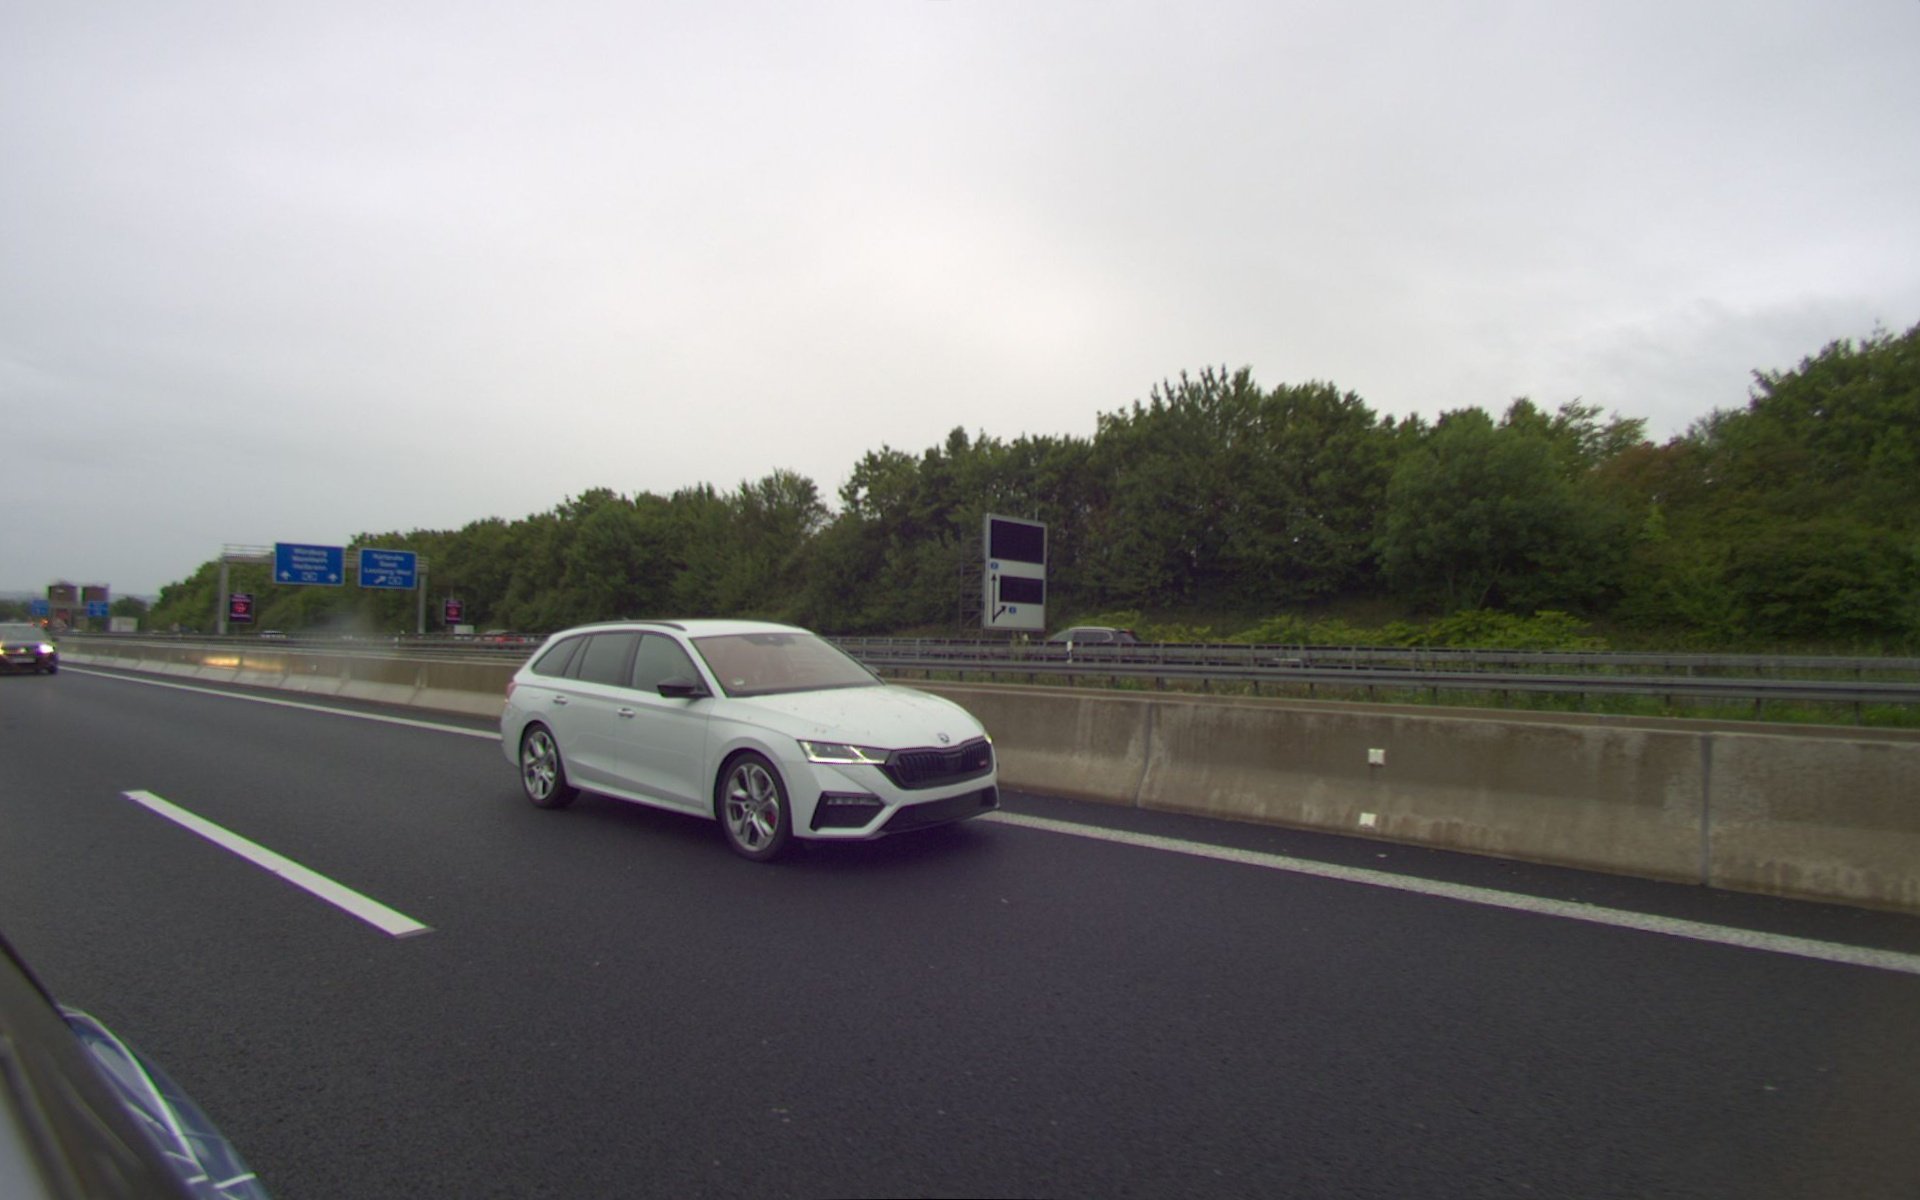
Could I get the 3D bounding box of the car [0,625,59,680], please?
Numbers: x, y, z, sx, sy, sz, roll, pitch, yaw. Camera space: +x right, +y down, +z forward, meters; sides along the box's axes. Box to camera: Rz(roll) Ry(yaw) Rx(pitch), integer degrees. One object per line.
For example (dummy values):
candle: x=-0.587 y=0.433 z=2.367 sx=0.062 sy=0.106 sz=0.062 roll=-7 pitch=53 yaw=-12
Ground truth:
car: x=-28.248 y=1.504 z=30.063 sx=4.565 sy=1.500 sz=1.703 roll=-1 pitch=-1 yaw=42

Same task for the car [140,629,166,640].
car: x=-107.818 y=4.580 z=135.194 sx=4.471 sy=1.504 sz=1.800 roll=-1 pitch=-1 yaw=40

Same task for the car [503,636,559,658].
car: x=-31.368 y=3.433 z=73.961 sx=4.773 sy=1.467 sz=1.800 roll=-1 pitch=-1 yaw=40

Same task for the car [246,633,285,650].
car: x=-62.148 y=3.714 z=90.541 sx=4.265 sy=1.467 sz=1.800 roll=-1 pitch=-1 yaw=40

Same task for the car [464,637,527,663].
car: x=-29.317 y=3.122 z=63.836 sx=4.562 sy=1.467 sz=1.801 roll=-1 pitch=-1 yaw=39

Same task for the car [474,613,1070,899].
car: x=-1.659 y=0.844 z=7.490 sx=4.776 sy=1.467 sz=1.799 roll=-1 pitch=-1 yaw=42

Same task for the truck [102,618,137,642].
truck: x=-141.024 y=4.954 z=169.830 sx=9.630 sy=3.908 sz=3.042 roll=-1 pitch=-1 yaw=41
